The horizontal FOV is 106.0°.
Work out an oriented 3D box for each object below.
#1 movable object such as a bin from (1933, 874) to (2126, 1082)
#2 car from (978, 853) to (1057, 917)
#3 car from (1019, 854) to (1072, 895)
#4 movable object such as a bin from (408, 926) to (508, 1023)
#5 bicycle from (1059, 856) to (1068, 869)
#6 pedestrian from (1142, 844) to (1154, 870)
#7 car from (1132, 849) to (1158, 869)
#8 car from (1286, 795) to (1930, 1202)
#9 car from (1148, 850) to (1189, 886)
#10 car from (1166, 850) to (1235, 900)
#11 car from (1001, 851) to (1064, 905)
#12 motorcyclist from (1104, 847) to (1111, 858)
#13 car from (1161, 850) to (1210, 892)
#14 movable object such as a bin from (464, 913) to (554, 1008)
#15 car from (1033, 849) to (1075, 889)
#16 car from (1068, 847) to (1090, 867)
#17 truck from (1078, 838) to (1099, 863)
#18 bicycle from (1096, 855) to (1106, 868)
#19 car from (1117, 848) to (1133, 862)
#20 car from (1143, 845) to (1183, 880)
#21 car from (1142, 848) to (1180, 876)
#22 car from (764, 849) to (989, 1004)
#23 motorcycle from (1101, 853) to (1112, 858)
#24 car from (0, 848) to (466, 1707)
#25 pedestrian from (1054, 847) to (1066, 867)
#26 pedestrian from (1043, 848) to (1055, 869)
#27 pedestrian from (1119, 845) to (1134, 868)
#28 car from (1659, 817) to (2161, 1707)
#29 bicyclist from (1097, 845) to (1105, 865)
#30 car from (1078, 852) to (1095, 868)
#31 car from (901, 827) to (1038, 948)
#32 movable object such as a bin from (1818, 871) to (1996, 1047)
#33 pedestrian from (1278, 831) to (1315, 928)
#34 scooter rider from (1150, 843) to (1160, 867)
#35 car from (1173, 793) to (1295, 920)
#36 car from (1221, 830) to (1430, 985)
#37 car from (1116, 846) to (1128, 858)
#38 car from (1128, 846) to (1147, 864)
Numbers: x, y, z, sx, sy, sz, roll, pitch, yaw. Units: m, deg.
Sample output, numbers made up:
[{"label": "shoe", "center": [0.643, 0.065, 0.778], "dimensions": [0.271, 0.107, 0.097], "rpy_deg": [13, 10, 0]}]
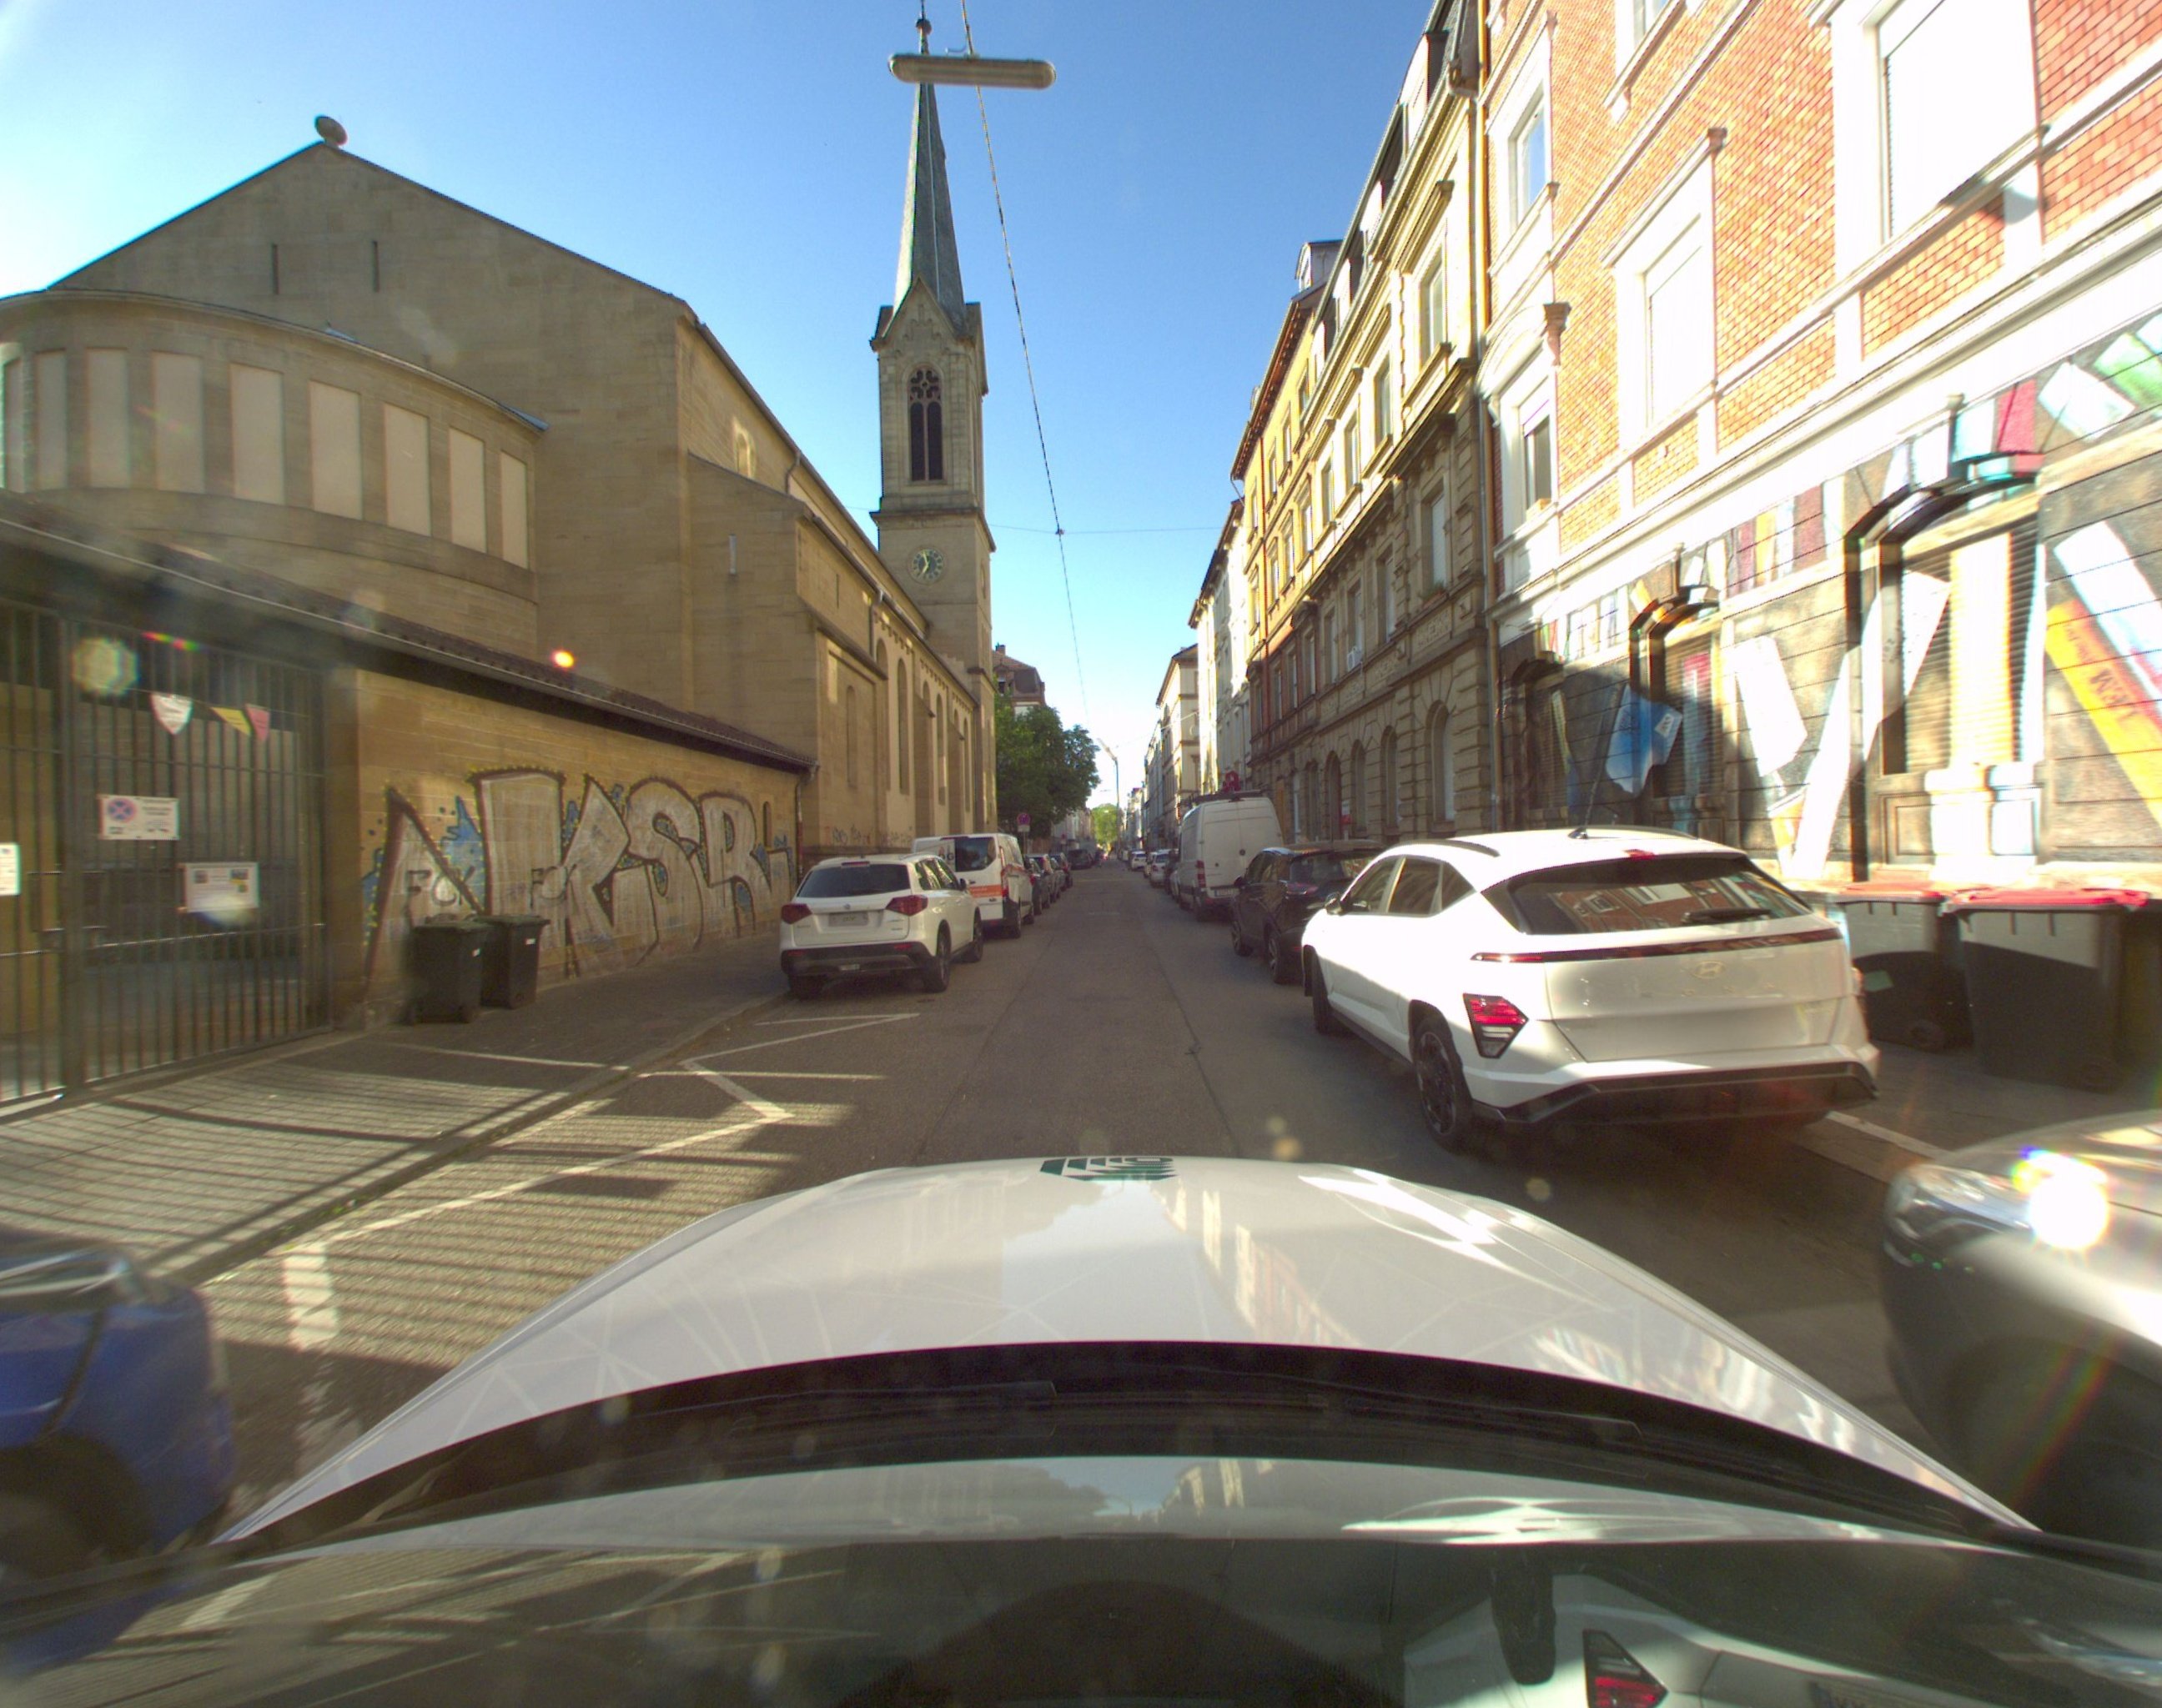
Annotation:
[{"label": "movable object such as a bin", "center": [5.462, 0.671, 4.699], "dimensions": [0.551, 1.052, 0.597], "rpy_deg": [-5, 0, -31]}, {"label": "car", "center": [-1.630, 0.760, 22.068], "dimensions": [1.609, 1.451, 3.952], "rpy_deg": [-4, 0, 2]}, {"label": "car", "center": [-1.390, 0.778, 33.227], "dimensions": [1.563, 1.398, 3.813], "rpy_deg": [-5, 0, 5]}, {"label": "movable object such as a bin", "center": [-5.828, 1.113, 7.638], "dimensions": [0.451, 0.807, 0.591], "rpy_deg": [-2, 0, 2]}, {"label": "bicycle", "center": [-1.590, 0.749, 73.817], "dimensions": [0.644, 1.108, 1.600], "rpy_deg": [-2, 0, -9]}, {"label": "pedestrian", "center": [4.860, 0.223, 59.416], "dimensions": [0.681, 1.843, 0.692], "rpy_deg": [-1, 0, -10]}, {"label": "car", "center": [5.019, 0.371, 64.504], "dimensions": [1.890, 1.488, 3.872], "rpy_deg": [-2, 0, 2]}, {"label": "car", "center": [2.727, 0.608, 5.523], "dimensions": [1.800, 1.690, 4.217], "rpy_deg": [0, 0, 3]}, {"label": "car", "center": [3.834, 0.580, 36.091], "dimensions": [1.597, 1.504, 4.004], "rpy_deg": [-1, 0, 3]}, {"label": "car", "center": [3.788, 0.609, 26.463], "dimensions": [1.773, 1.486, 4.362], "rpy_deg": [0, 0, 2]}, {"label": "car", "center": [-1.513, 0.731, 26.889], "dimensions": [1.667, 1.558, 4.001], "rpy_deg": [-3, 0, 1]}, {"label": "motorcyclist", "center": [4.829, -0.354, 150.322], "dimensions": [0.905, 2.013, 1.182], "rpy_deg": [-2, 0, -21]}, {"label": "car", "center": [3.943, 0.610, 31.177], "dimensions": [1.563, 1.495, 3.656], "rpy_deg": [0, 0, 3]}, {"label": "movable object such as a bin", "center": [-5.842, 1.075, 8.345], "dimensions": [0.480, 0.876, 0.571], "rpy_deg": [-2, 0, 2]}, {"label": "car", "center": [-1.183, 0.656, 37.442], "dimensions": [1.594, 1.614, 3.809], "rpy_deg": [-4, 0, 1]}, {"label": "car", "center": [-0.158, 0.279, 76.628], "dimensions": [1.868, 1.796, 4.002], "rpy_deg": [-2, 0, 2]}, {"label": "truck", "center": [1.114, -0.538, 114.962], "dimensions": [2.522, 3.281, 6.999], "rpy_deg": [-2, 0, 2]}, {"label": "bicycle", "center": [1.727, 0.665, 69.587], "dimensions": [0.736, 1.043, 1.860], "rpy_deg": [-2, 0, 2]}, {"label": "car", "center": [5.314, 0.082, 98.873], "dimensions": [1.986, 1.632, 4.002], "rpy_deg": [0, 0, 2]}, {"label": "car", "center": [4.123, 0.384, 41.445], "dimensions": [1.710, 1.645, 4.002], "rpy_deg": [-2, 0, 2]}, {"label": "car", "center": [4.489, 0.437, 46.376], "dimensions": [1.711, 1.488, 3.868], "rpy_deg": [-2, 0, -1]}, {"label": "car", "center": [-2.368, 0.755, 10.476], "dimensions": [1.735, 1.586, 3.871], "rpy_deg": [-2, 0, 2]}, {"label": "motorcycle", "center": [4.781, 0.258, 150.448], "dimensions": [1.046, 0.980, 2.805], "rpy_deg": [-2, 0, -21]}, {"label": "car", "center": [-2.568, 0.793, 0.229], "dimensions": [1.681, 1.476, 3.862], "rpy_deg": [-4, 0, 2]}, {"label": "pedestrian", "center": [-1.791, 0.270, 70.350], "dimensions": [0.925, 1.637, 0.807], "rpy_deg": [-2, 0, 3]}, {"label": "pedestrian", "center": [-2.835, 0.387, 72.014], "dimensions": [0.925, 1.786, 0.807], "rpy_deg": [-2, 0, 3]}, {"label": "pedestrian", "center": [3.719, 0.223, 66.475], "dimensions": [0.775, 1.843, 1.018], "rpy_deg": [-1, 0, 43]}, {"label": "car", "center": [2.594, 0.708, 0.550], "dimensions": [1.568, 1.525, 3.905], "rpy_deg": [0, 0, -2]}, {"label": "bicyclist", "center": [1.701, 0.102, 69.530], "dimensions": [0.603, 1.688, 0.885], "rpy_deg": [-2, 0, 2]}, {"label": "car", "center": [0.656, 0.706, 98.375], "dimensions": [1.868, 1.796, 4.002], "rpy_deg": [-2, 0, 2]}, {"label": "car", "center": [-2.038, 0.569, 16.300], "dimensions": [1.857, 1.957, 4.612], "rpy_deg": [-4, 0, 1]}, {"label": "movable object such as a bin", "center": [5.529, 0.668, 5.473], "dimensions": [0.549, 1.052, 0.600], "rpy_deg": [-5, 0, -16]}, {"label": "pedestrian", "center": [4.089, 0.473, 15.411], "dimensions": [0.635, 1.772, 0.682], "rpy_deg": [0, 0, 17]}, {"label": "scooter rider", "center": [5.294, 0.060, 58.205], "dimensions": [0.646, 1.642, 0.685], "rpy_deg": [-2, 0, 8]}, {"label": "car", "center": [3.520, 0.021, 19.955], "dimensions": [2.060, 2.611, 5.891], "rpy_deg": [-1, 0, 2]}, {"label": "car", "center": [3.002, 0.570, 10.831], "dimensions": [1.681, 1.642, 3.926], "rpy_deg": [-2, 0, 2]}, {"label": "car", "center": [7.086, -0.368, 140.584], "dimensions": [1.986, 2.013, 4.002], "rpy_deg": [-2, 0, 2]}, {"label": "car", "center": [5.857, 0.112, 84.961], "dimensions": [1.762, 1.741, 4.003], "rpy_deg": [-2, 0, 2]}]
